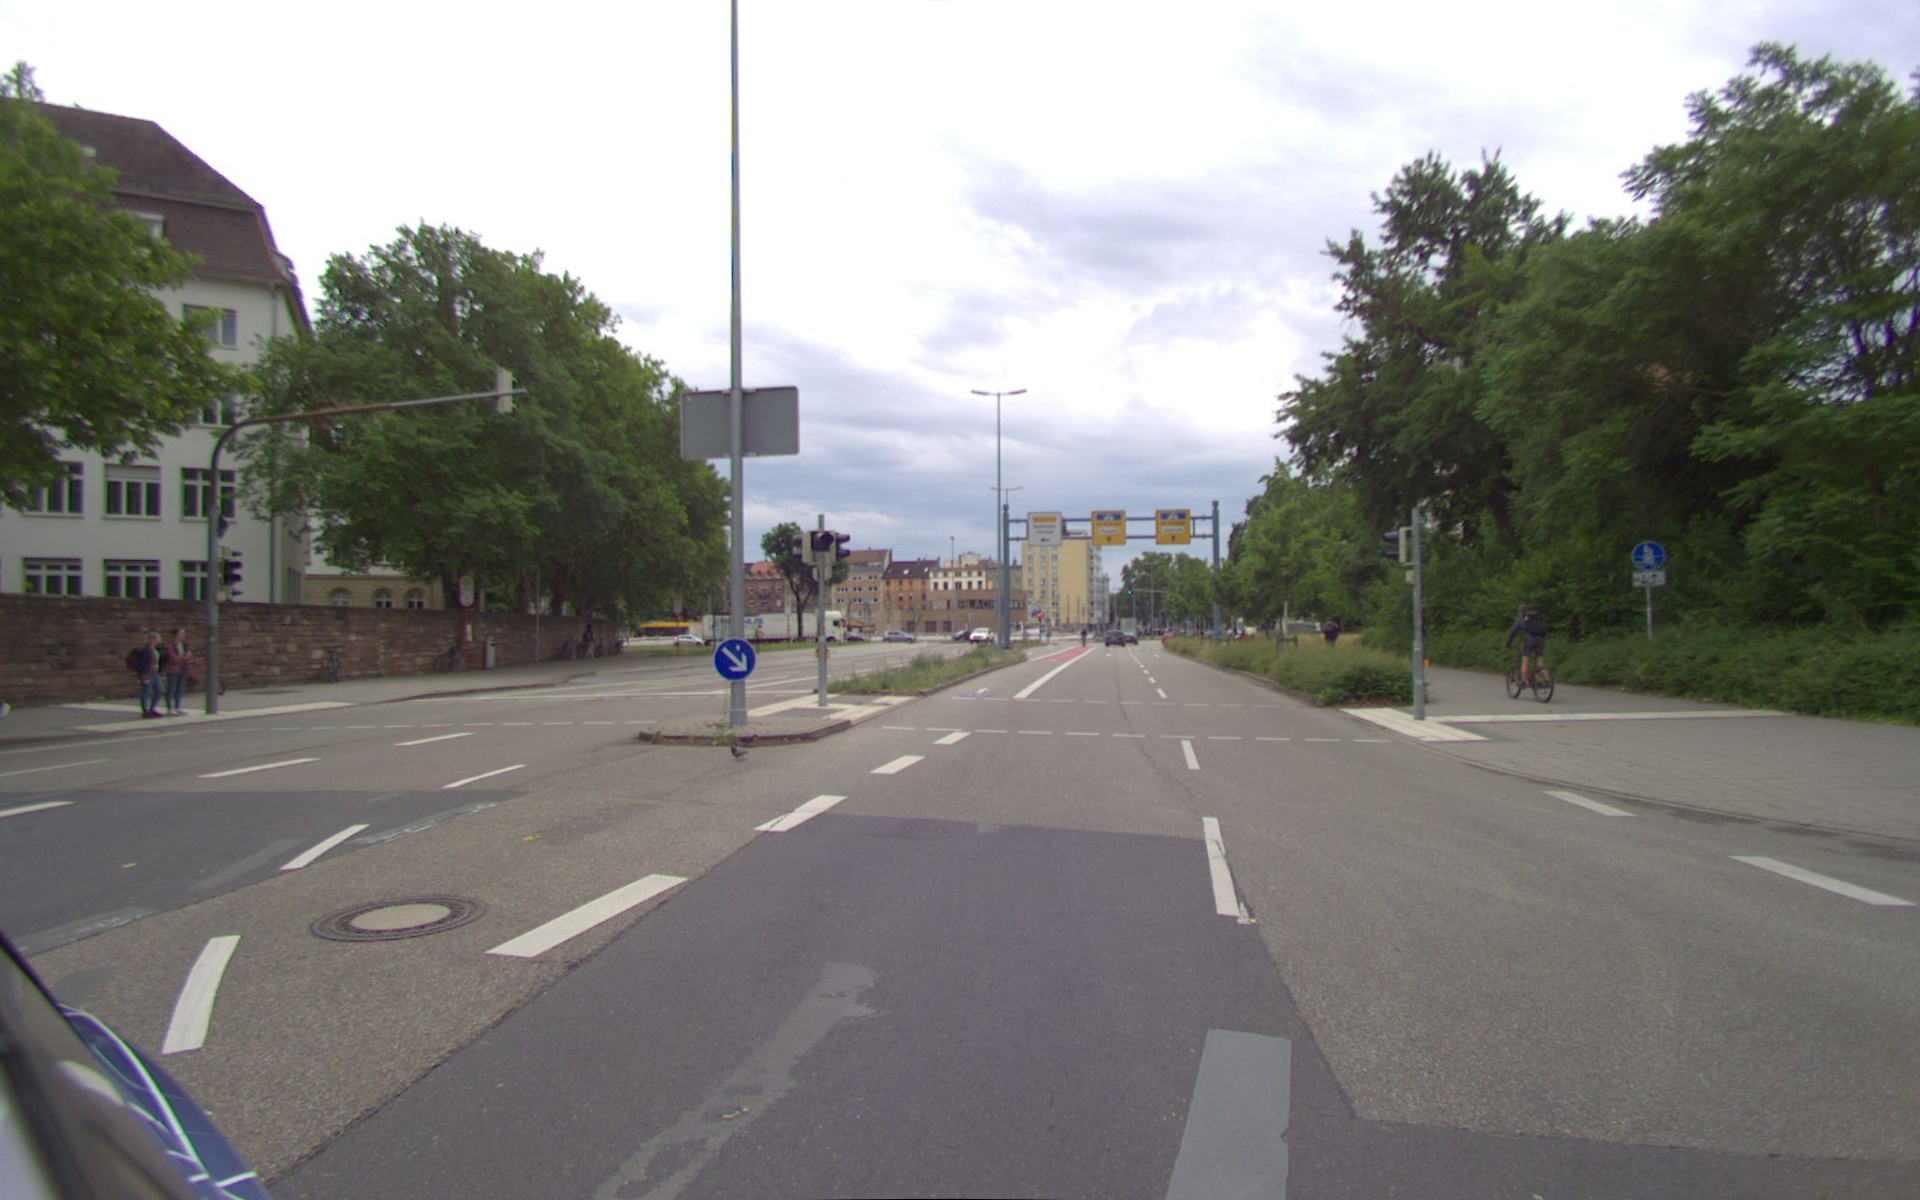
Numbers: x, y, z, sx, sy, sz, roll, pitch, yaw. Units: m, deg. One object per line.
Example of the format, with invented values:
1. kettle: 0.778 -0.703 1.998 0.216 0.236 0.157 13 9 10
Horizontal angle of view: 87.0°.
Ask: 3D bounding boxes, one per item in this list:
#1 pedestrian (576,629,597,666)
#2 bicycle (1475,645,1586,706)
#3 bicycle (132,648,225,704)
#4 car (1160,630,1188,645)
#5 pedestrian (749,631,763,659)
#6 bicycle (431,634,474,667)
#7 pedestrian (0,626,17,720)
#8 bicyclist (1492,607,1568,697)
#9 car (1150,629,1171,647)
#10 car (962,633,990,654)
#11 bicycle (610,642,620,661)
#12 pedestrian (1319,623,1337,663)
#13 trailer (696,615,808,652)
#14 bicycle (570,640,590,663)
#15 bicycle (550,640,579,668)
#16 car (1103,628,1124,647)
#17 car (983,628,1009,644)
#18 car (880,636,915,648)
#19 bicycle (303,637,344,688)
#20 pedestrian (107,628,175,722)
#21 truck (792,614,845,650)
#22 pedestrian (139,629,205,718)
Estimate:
1. pedestrian: -18.362 2.332 49.769 0.779 1.773 0.774 0 -2 -7
2. bicycle: 10.840 1.412 19.318 0.770 1.045 1.869 -2 -1 -10
3. bicycle: -18.112 1.736 23.509 0.574 1.194 2.158 1 -2 -4
4. car: 28.961 5.054 136.845 1.966 2.029 4.011 0 -2 -16
5. pedestrian: -12.770 2.822 63.325 0.634 1.719 0.707 -1 -2 5
6. bicycle: -18.532 1.823 37.014 0.655 1.157 2.159 1 -2 -6
7. pedestrian: -17.689 1.302 18.092 0.781 1.677 0.808 3 -1 5
8. bicyclist: 10.830 0.974 19.268 0.755 1.620 0.925 -3 -1 -8
9. car: 23.860 4.520 120.536 1.983 2.029 3.976 -1 -1 18
10. car: 1.636 4.358 101.476 2.024 1.710 5.360 -3 0 8
11. bicycle: -22.578 3.356 66.262 0.499 1.157 2.254 1 -2 -16
12. pedestrian: 15.470 1.794 42.524 0.637 1.677 0.804 -1 -2 17
13. trailer: -23.684 3.791 115.696 12.217 3.852 2.841 -1 0 5
14. bicycle: -20.070 2.724 53.463 0.500 1.157 2.252 1 -2 -8
15. bicycle: -19.377 2.631 49.662 0.655 1.275 2.546 1 -2 -6
16. car: 15.144 3.729 99.728 1.979 1.807 3.986 -1 -2 11
17. car: 4.702 4.708 131.609 1.990 2.029 3.962 -1 -2 27
18. car: -7.345 4.943 119.042 3.949 1.386 1.997 -1 -1 5
19. bicycle: -18.531 1.792 29.515 0.658 1.391 2.594 1 -2 -25
20. pedestrian: -15.646 1.411 19.341 0.725 1.752 0.670 0 -2 2
21. truck: -16.043 3.614 115.040 5.380 3.852 2.842 -1 0 4
22. pedestrian: -15.613 1.438 20.055 0.769 1.706 0.642 0 -1 4
